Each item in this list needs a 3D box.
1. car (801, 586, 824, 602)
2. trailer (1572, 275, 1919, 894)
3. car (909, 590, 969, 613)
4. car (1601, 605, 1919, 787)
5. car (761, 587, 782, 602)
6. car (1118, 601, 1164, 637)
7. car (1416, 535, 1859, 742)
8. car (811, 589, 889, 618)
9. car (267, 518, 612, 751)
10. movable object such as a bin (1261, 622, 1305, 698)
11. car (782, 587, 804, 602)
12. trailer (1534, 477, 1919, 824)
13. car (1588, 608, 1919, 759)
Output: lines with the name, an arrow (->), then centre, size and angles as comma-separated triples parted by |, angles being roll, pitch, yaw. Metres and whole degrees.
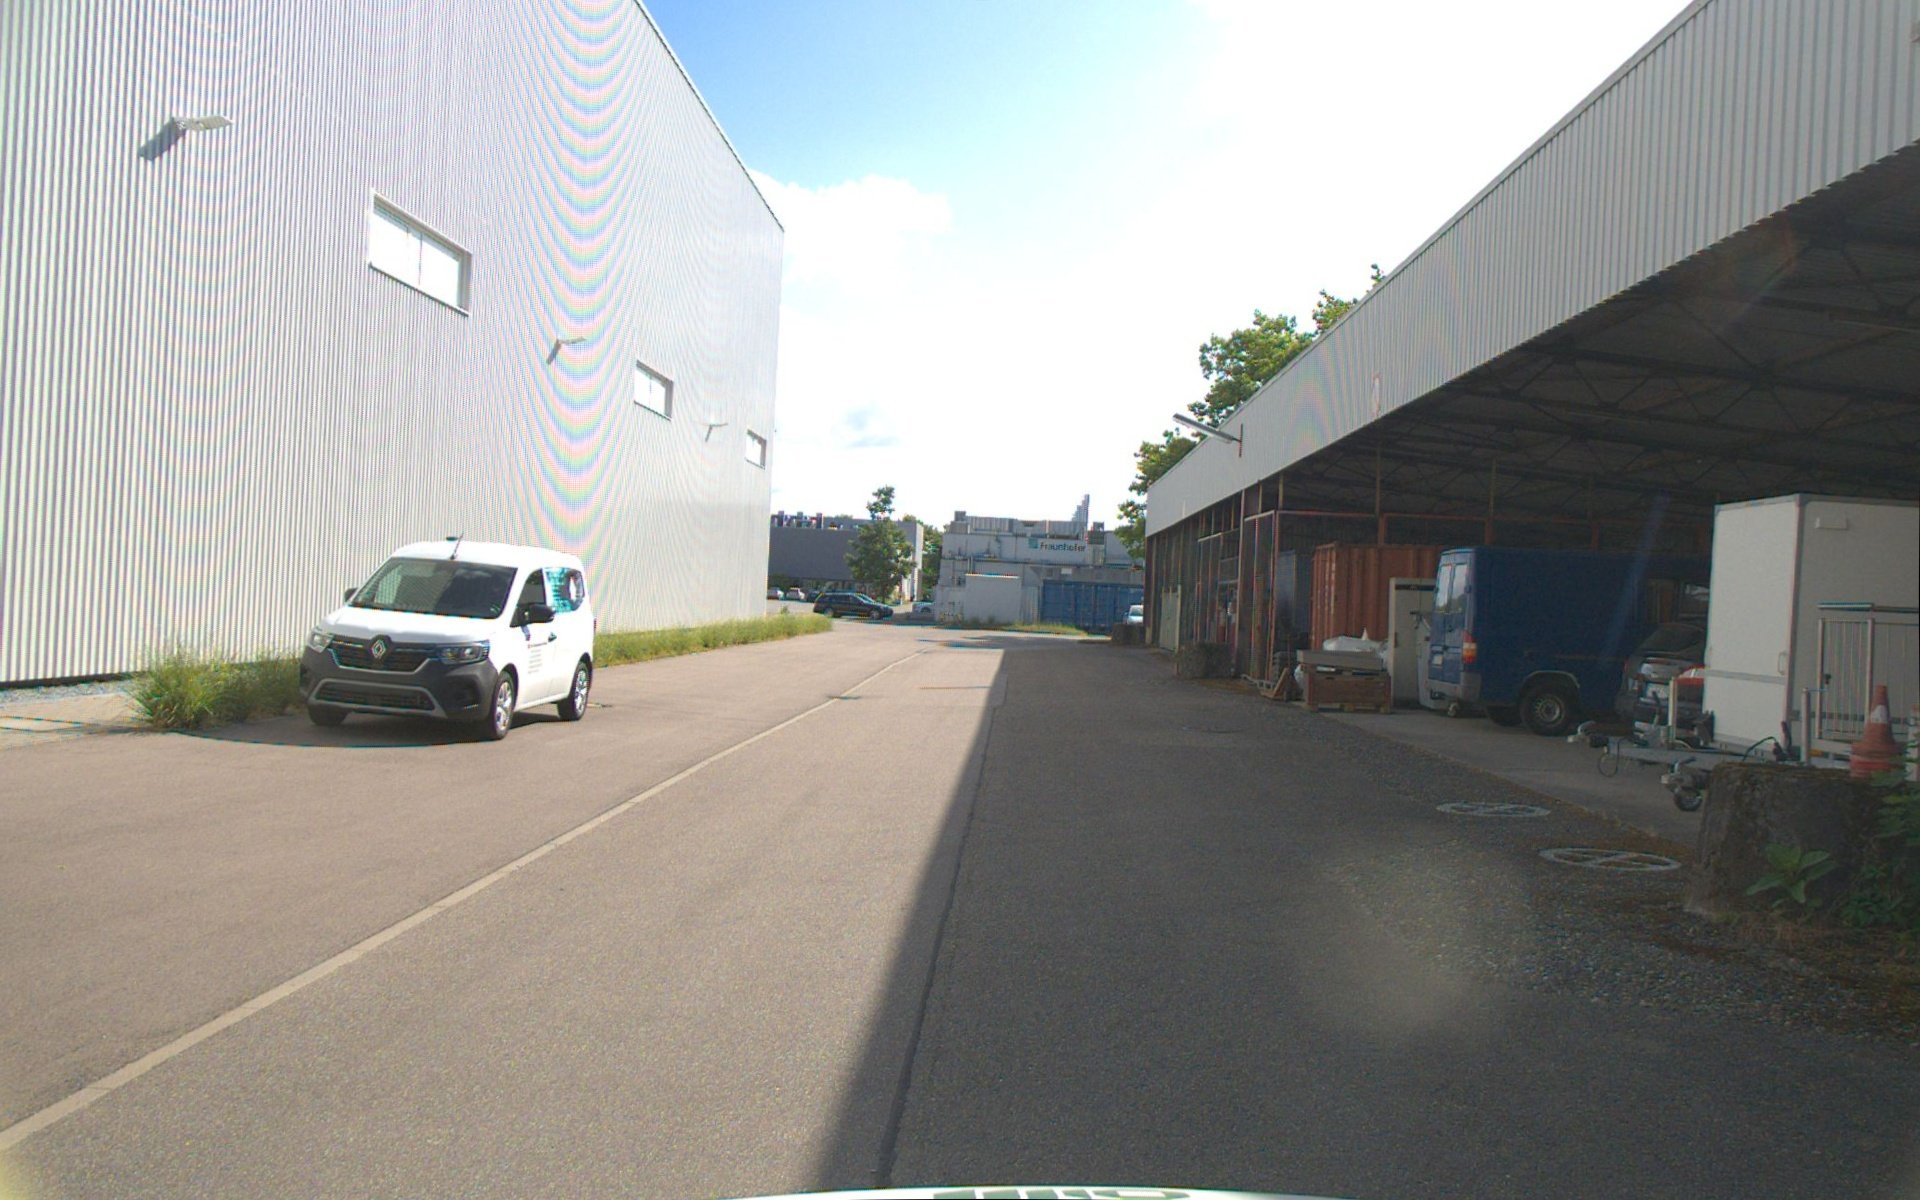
car -> -17.334, -0.669, 194.598 | 2.148, 1.766, 4.000 | 1, 0, 1
trailer -> 9.227, 0.049, 10.121 | 9.829, 3.272, 2.854 | 2, 0, 1
car -> -1.605, 0.122, 126.307 | 4.432, 1.534, 1.909 | 2, 0, 3
car -> 8.418, 0.874, 15.328 | 4.241, 1.522, 1.777 | 2, 0, -1
car -> -22.326, -0.671, 196.101 | 1.952, 1.766, 4.000 | 1, 0, 1
car -> 9.328, 0.972, 85.629 | 1.952, 1.613, 4.174 | 2, 2, 1
car -> 8.631, 0.469, 21.421 | 4.875, 2.366, 2.001 | 2, 0, 2
car -> -6.549, 0.206, 98.825 | 4.431, 1.534, 1.910 | 2, 0, 3
car -> -4.982, 0.299, 16.552 | 1.852, 1.877, 4.359 | 4, 0, 1
movable object such as a bin -> 5.300, 0.969, 27.191 | 0.569, 1.185, 1.239 | 1, 0, 6
car -> -19.783, -0.663, 196.376 | 2.148, 1.766, 4.000 | 1, 0, 1
trailer -> 7.089, 0.392, 12.721 | 4.710, 2.433, 1.828 | 2, 0, 7
car -> 9.313, 0.907, 18.435 | 3.907, 1.498, 1.787 | 2, 0, -3
